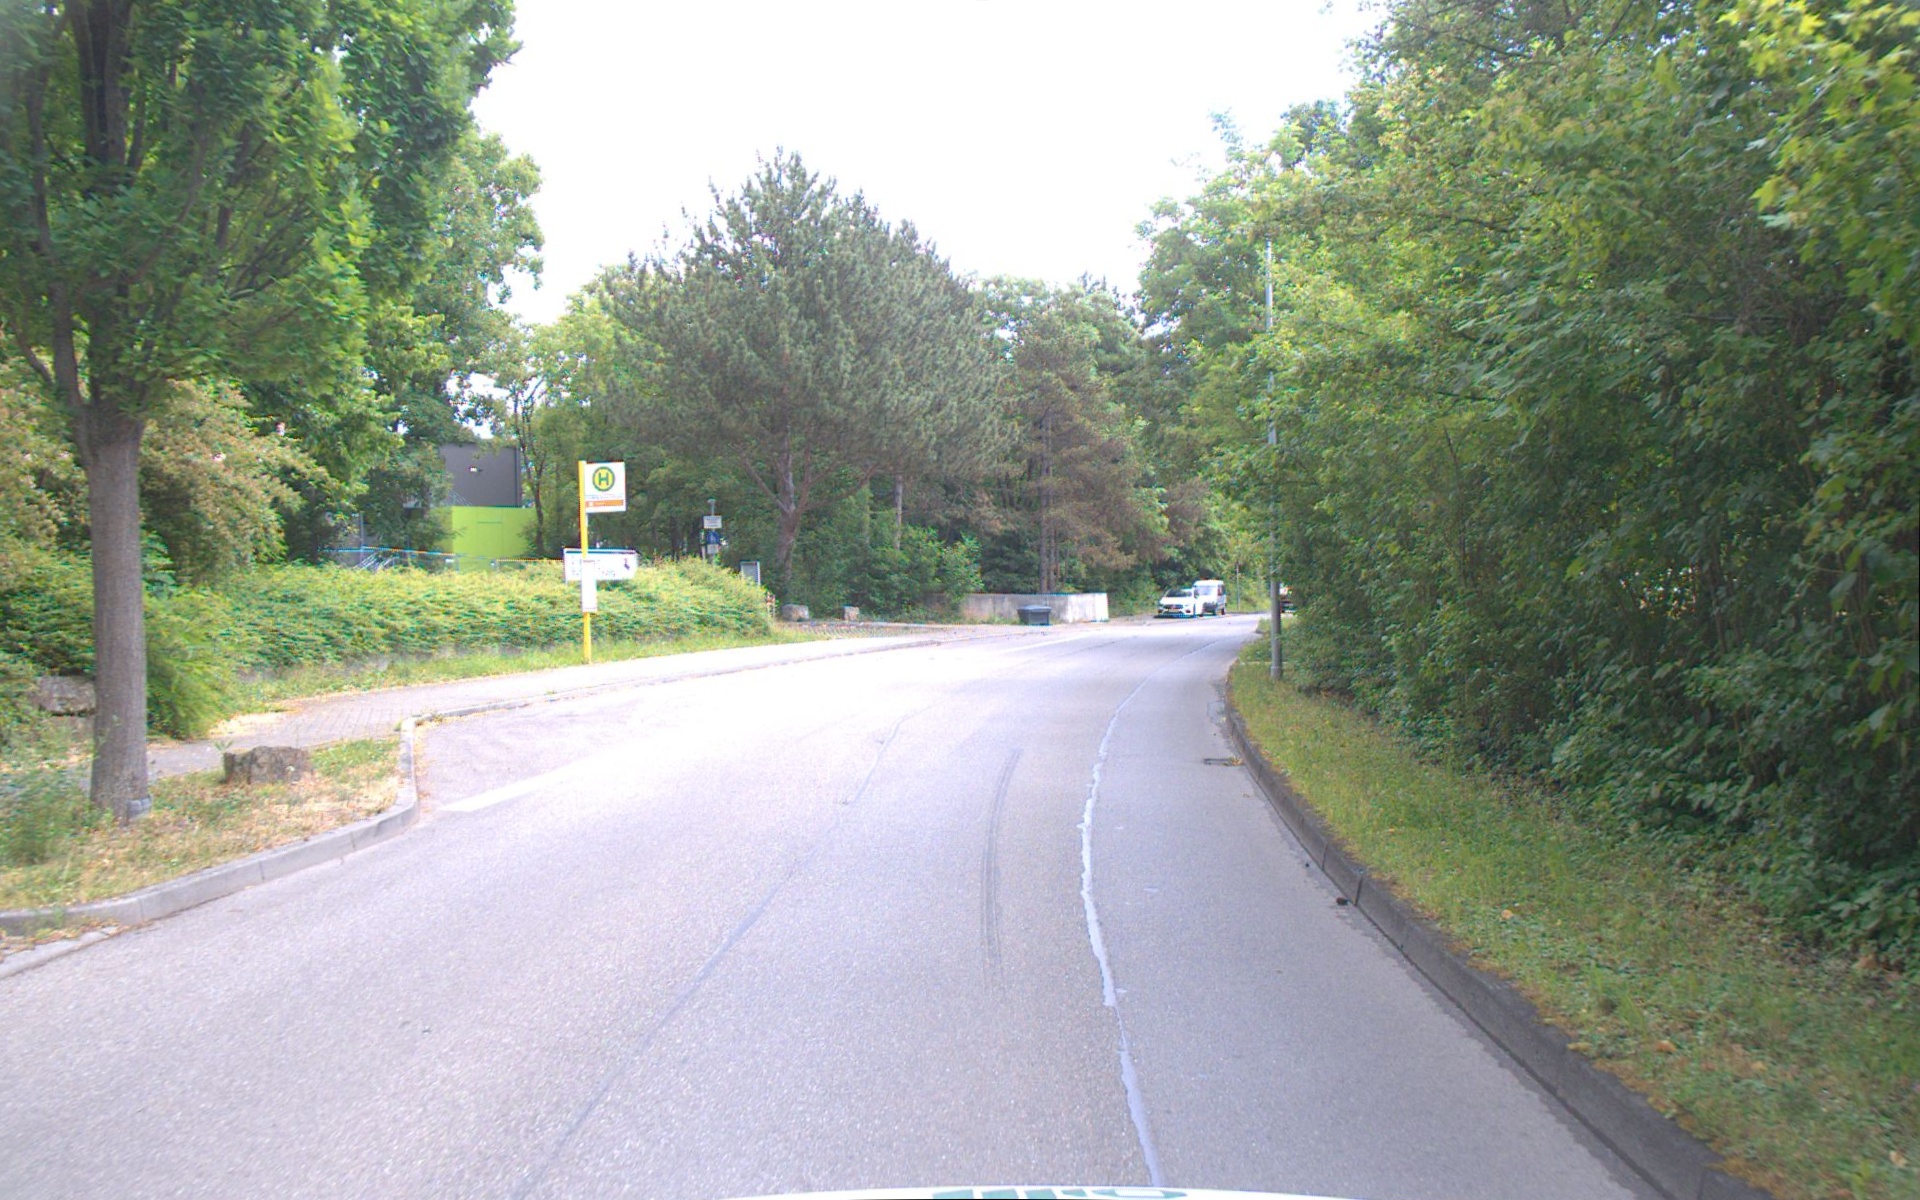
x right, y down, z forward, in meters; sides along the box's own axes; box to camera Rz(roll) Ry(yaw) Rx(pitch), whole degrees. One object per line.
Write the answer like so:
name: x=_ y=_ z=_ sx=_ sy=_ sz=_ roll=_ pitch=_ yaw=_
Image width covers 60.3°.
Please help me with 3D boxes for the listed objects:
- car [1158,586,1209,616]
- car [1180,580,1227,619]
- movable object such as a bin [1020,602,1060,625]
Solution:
car: x=11.004 y=0.009 z=81.355 sx=1.767 sy=1.427 sz=4.374 roll=0 pitch=1 yaw=18
car: x=12.920 y=-0.064 z=87.700 sx=1.685 sy=1.955 sz=4.106 roll=1 pitch=1 yaw=20
movable object such as a bin: x=2.833 y=0.484 z=58.560 sx=1.126 sy=0.773 sz=1.043 roll=1 pitch=-1 yaw=-19
